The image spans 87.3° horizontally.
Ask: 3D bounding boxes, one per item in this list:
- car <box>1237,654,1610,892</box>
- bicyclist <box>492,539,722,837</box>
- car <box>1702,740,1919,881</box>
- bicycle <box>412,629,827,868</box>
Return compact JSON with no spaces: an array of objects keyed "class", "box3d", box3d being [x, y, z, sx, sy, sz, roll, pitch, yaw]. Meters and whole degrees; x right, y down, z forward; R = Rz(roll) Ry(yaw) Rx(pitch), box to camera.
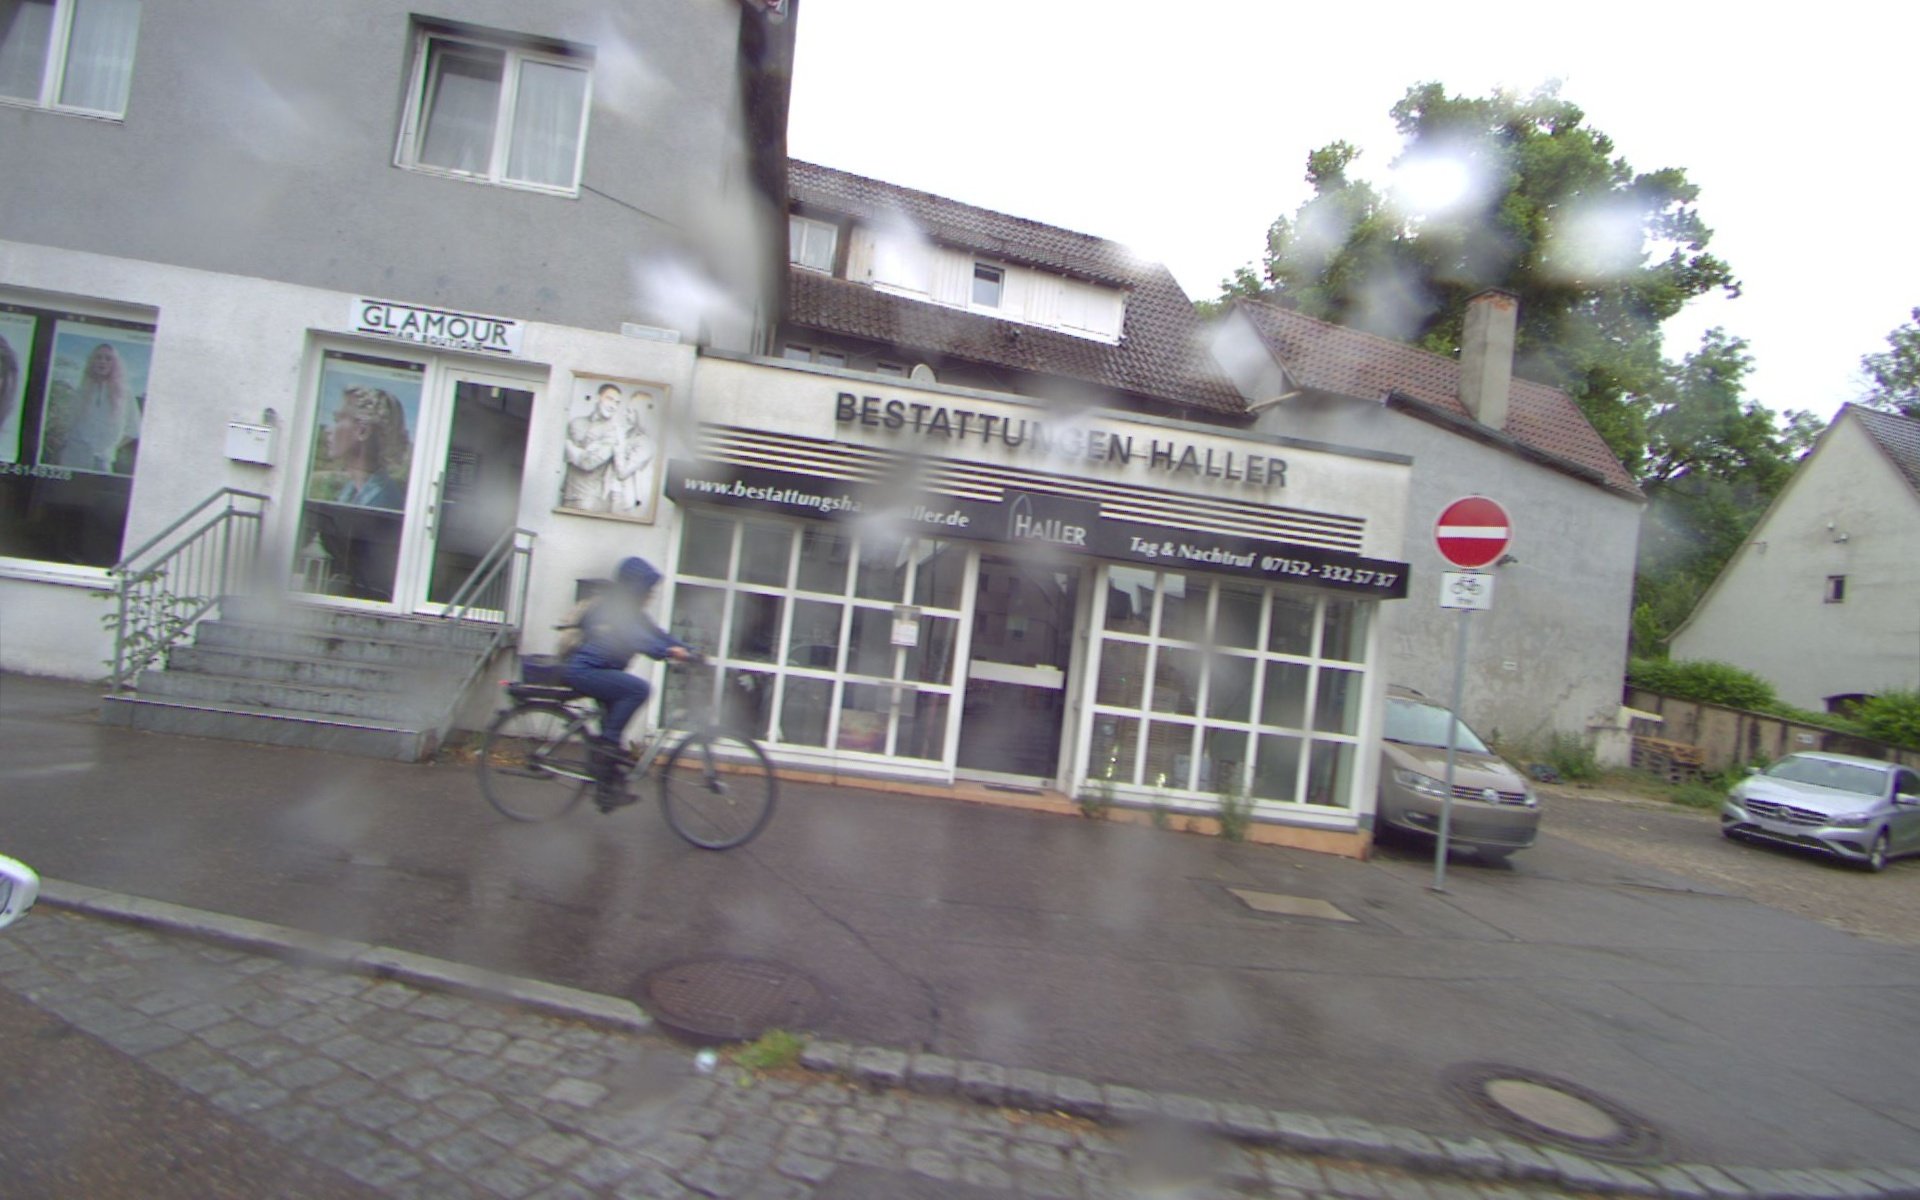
[{"class":"car","box3d":[5.146,1.837,11.913,1.966,1.794,3.992,9,1,-8]},{"class":"bicyclist","box3d":[-2.031,0.512,5.938,1.015,1.535,0.684,9,-2,-14]},{"class":"car","box3d":[12.883,3.005,14.813,3.961,1.493,1.816,7,1,-34]},{"class":"bicycle","box3d":[-1.909,0.852,5.911,2.049,1.046,0.762,10,-2,-13]}]
